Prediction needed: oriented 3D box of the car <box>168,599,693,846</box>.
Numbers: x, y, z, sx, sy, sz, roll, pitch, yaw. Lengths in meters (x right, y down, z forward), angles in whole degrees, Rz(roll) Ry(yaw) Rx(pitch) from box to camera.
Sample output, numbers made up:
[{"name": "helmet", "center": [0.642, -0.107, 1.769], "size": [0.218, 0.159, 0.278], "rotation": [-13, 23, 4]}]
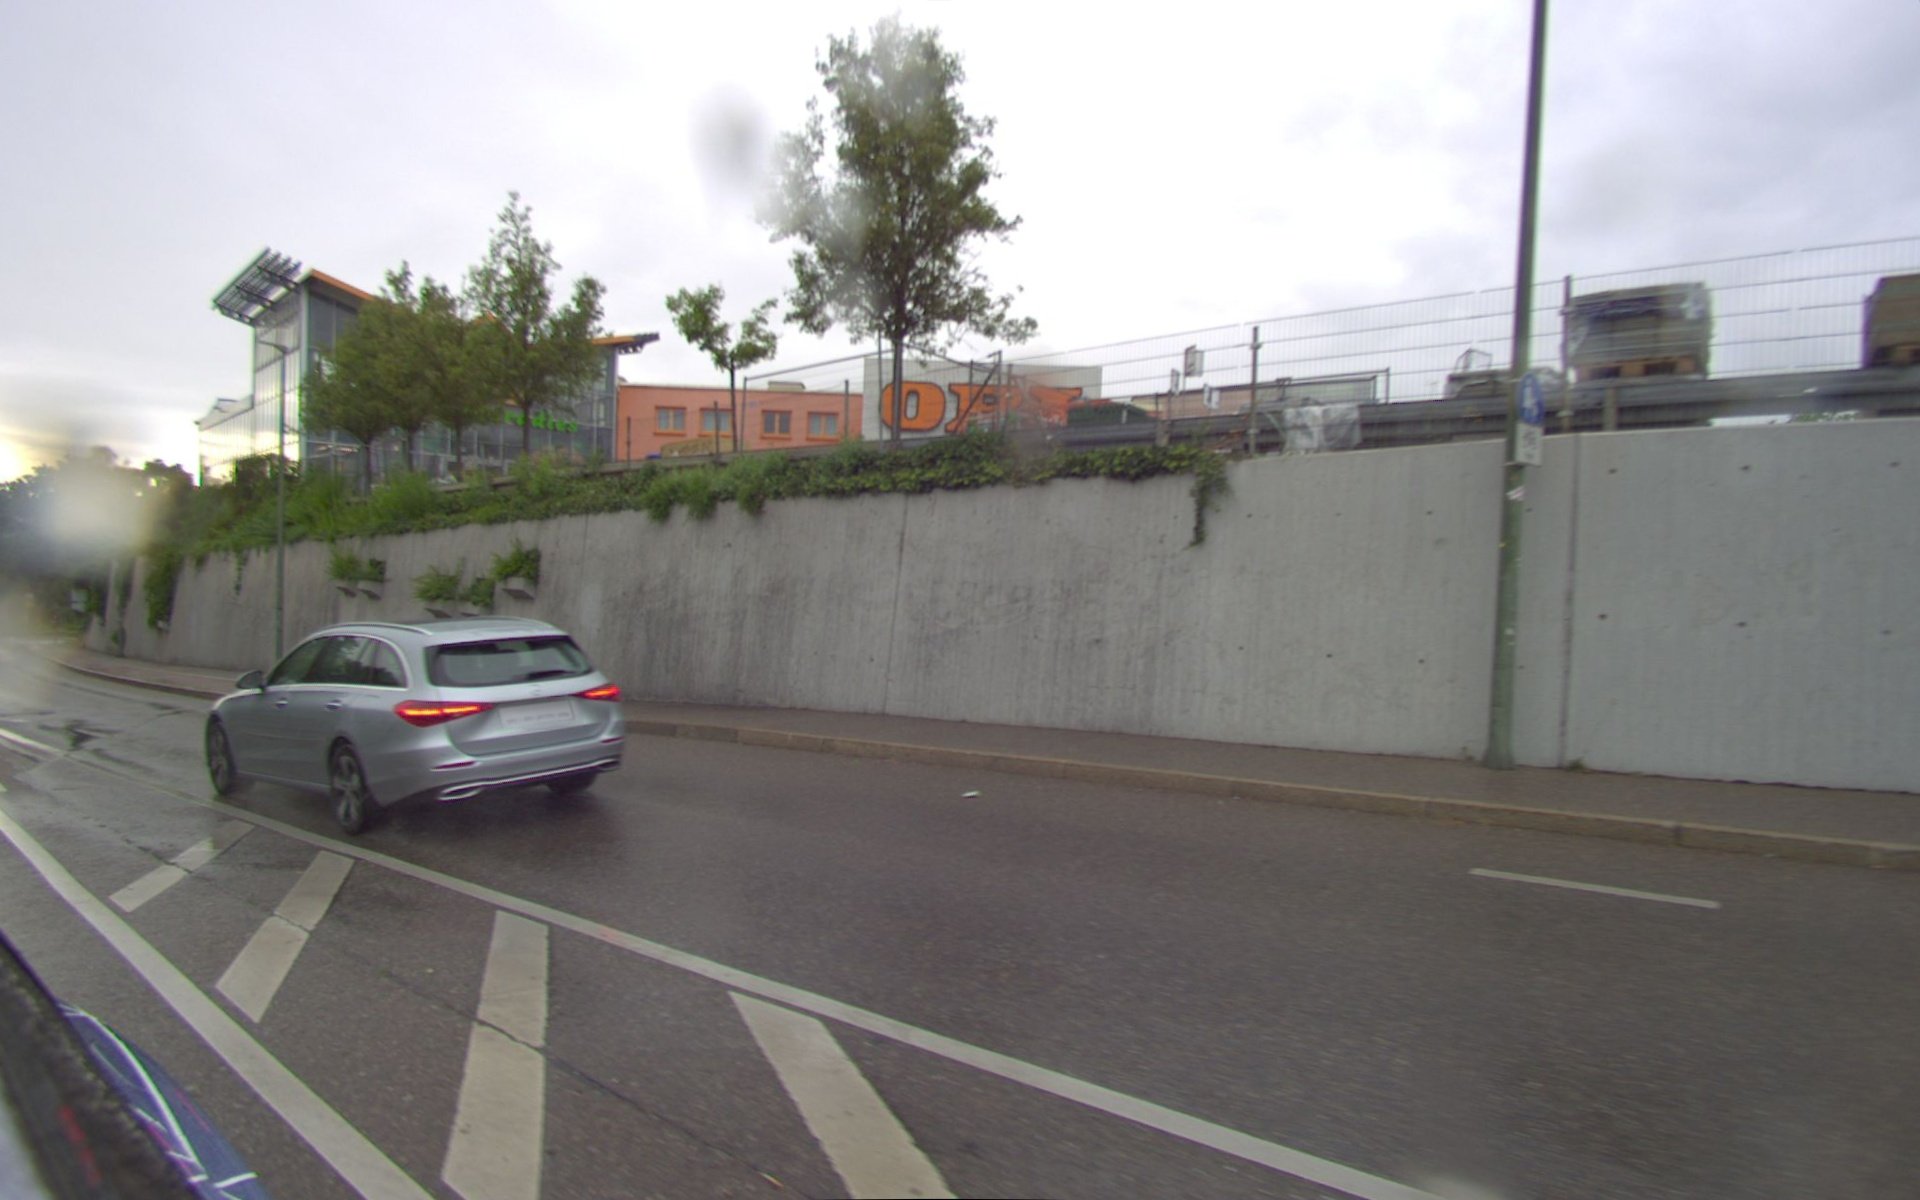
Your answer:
[{"name": "car", "center": [-4.543, 0.798, 8.358], "size": [4.773, 1.437, 1.983], "rotation": [-2, 0, 37]}]
